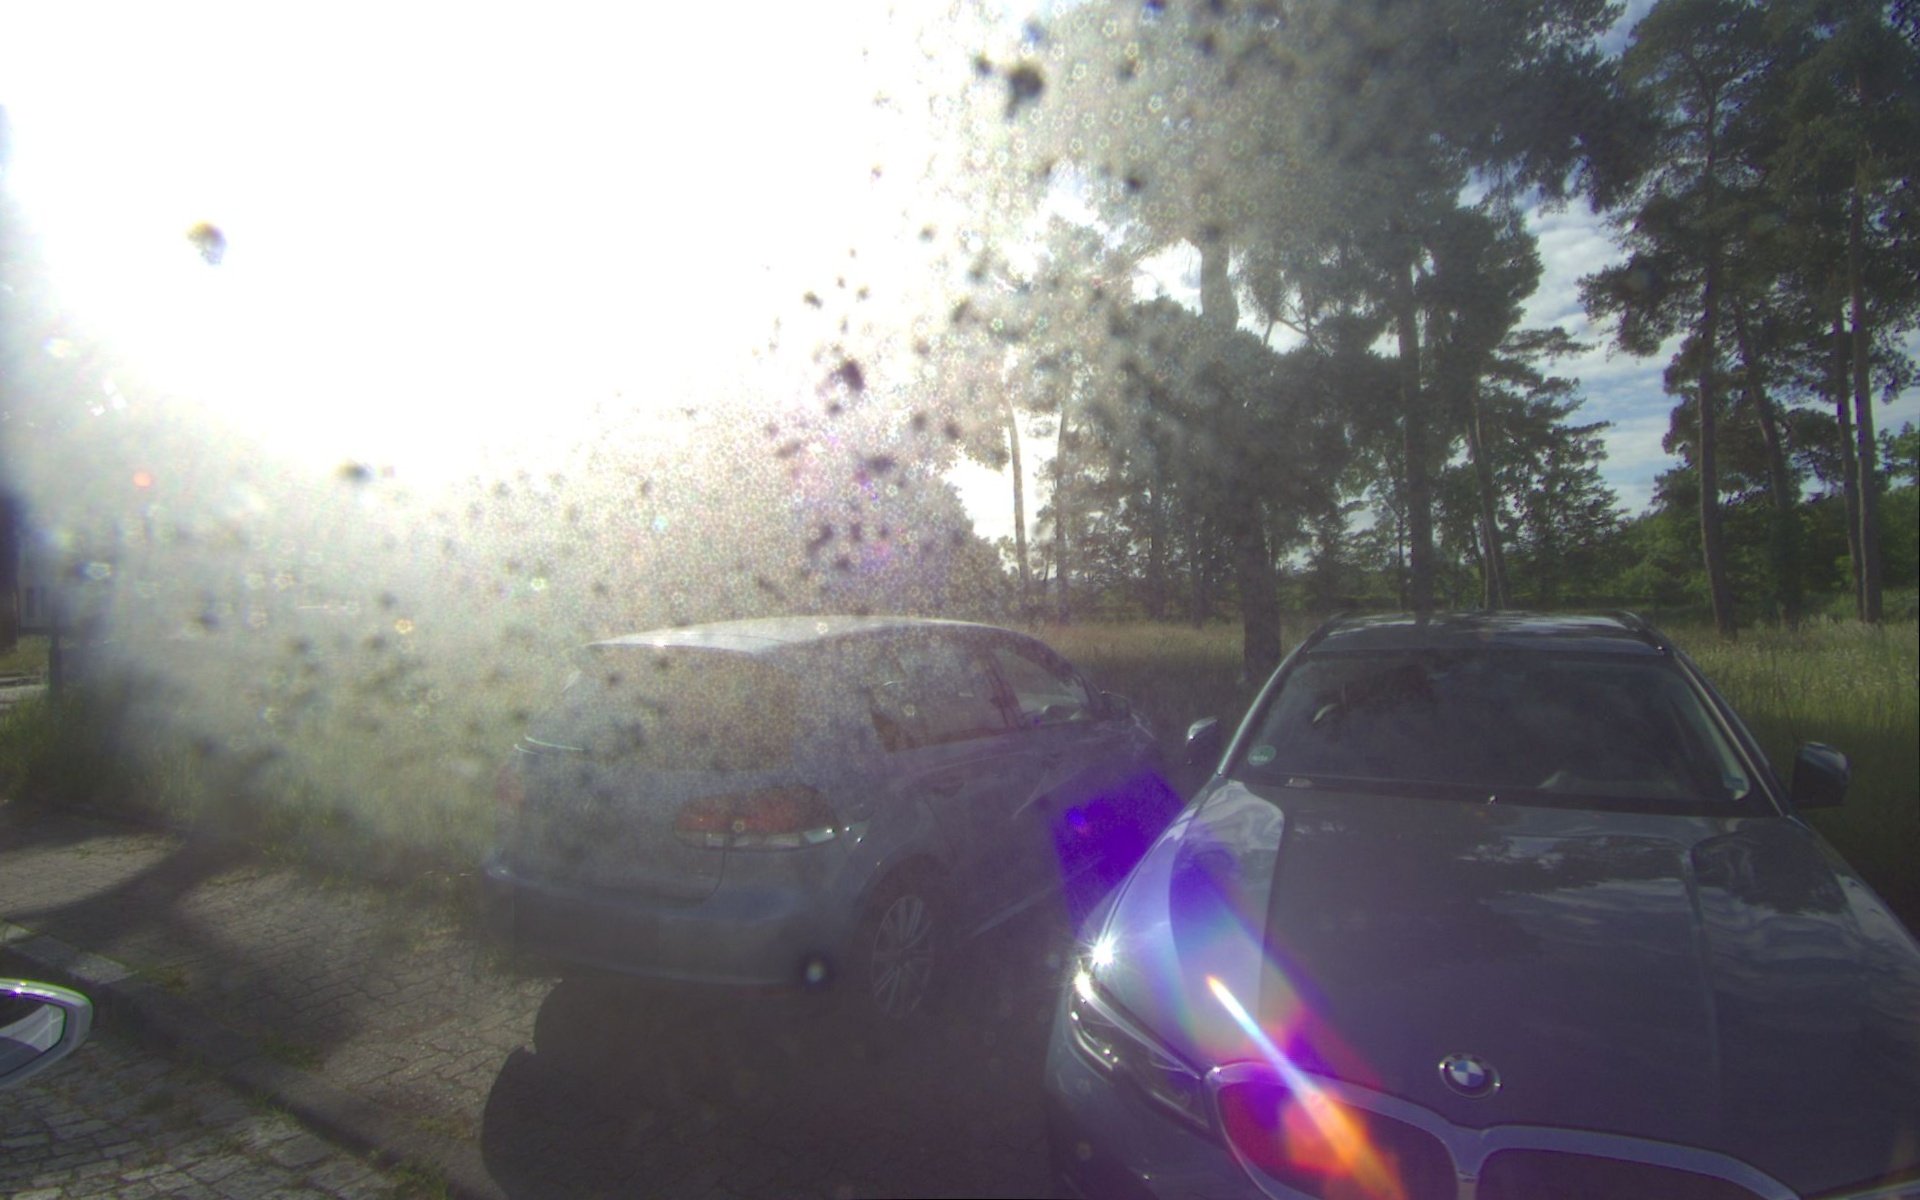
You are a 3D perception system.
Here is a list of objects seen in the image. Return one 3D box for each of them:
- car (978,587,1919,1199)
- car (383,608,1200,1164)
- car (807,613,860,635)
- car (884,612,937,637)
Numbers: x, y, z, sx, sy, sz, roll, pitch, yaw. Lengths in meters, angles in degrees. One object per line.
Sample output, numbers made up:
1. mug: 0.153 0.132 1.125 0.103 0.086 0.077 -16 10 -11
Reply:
1. car: 1.879 0.743 3.514 1.798 1.537 4.490 -1 0 28
2. car: -0.319 0.817 4.960 1.843 1.480 4.009 -1 0 31
3. car: -9.079 1.703 72.181 1.818 1.483 3.984 -1 -1 28
4. car: -3.277 1.616 67.504 1.827 1.619 3.984 -1 -1 28
